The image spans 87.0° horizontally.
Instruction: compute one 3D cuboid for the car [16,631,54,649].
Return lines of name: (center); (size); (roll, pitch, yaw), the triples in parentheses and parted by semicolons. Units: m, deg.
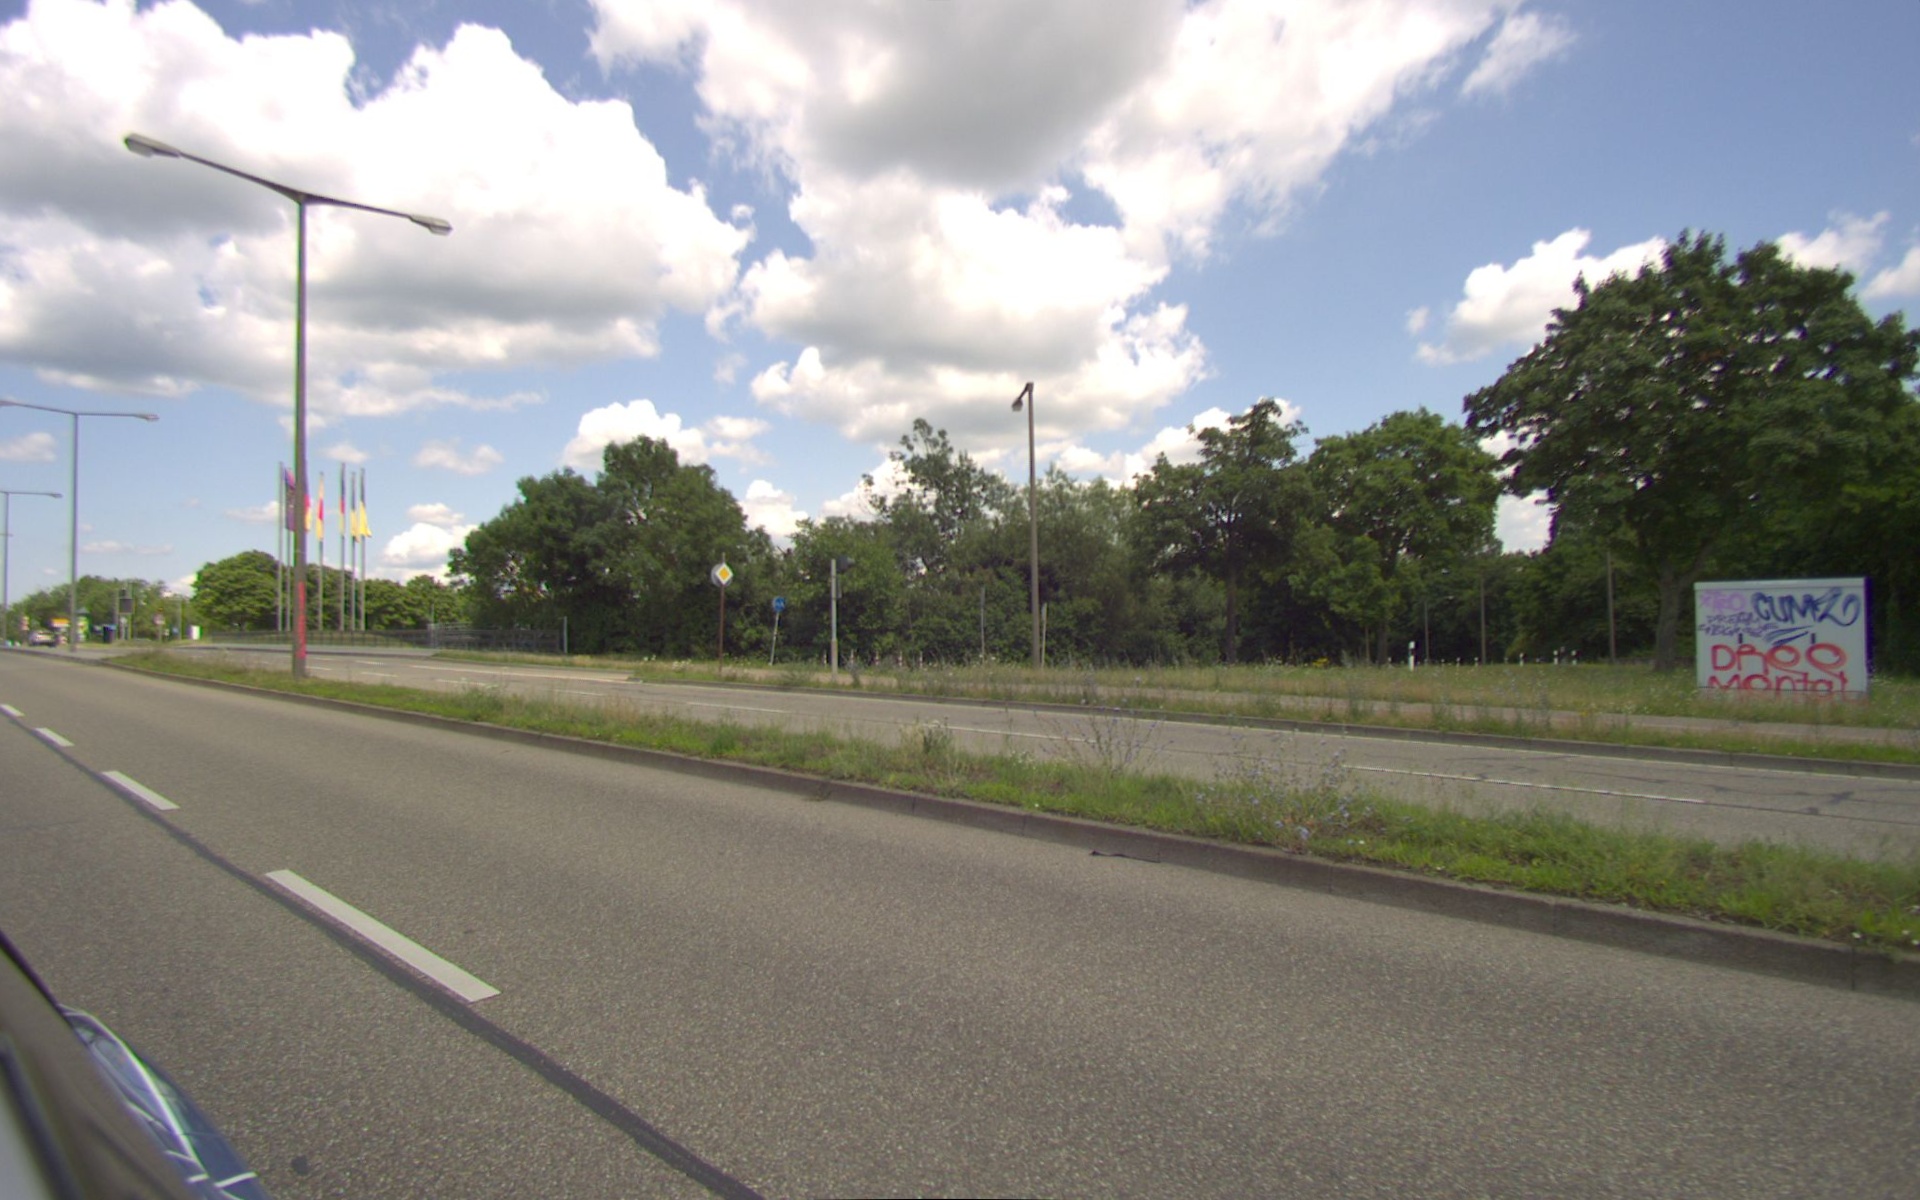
car: (-94.000, 4.125, 102.821); (4.545, 1.639, 2.067); (-3, -8, 39)
